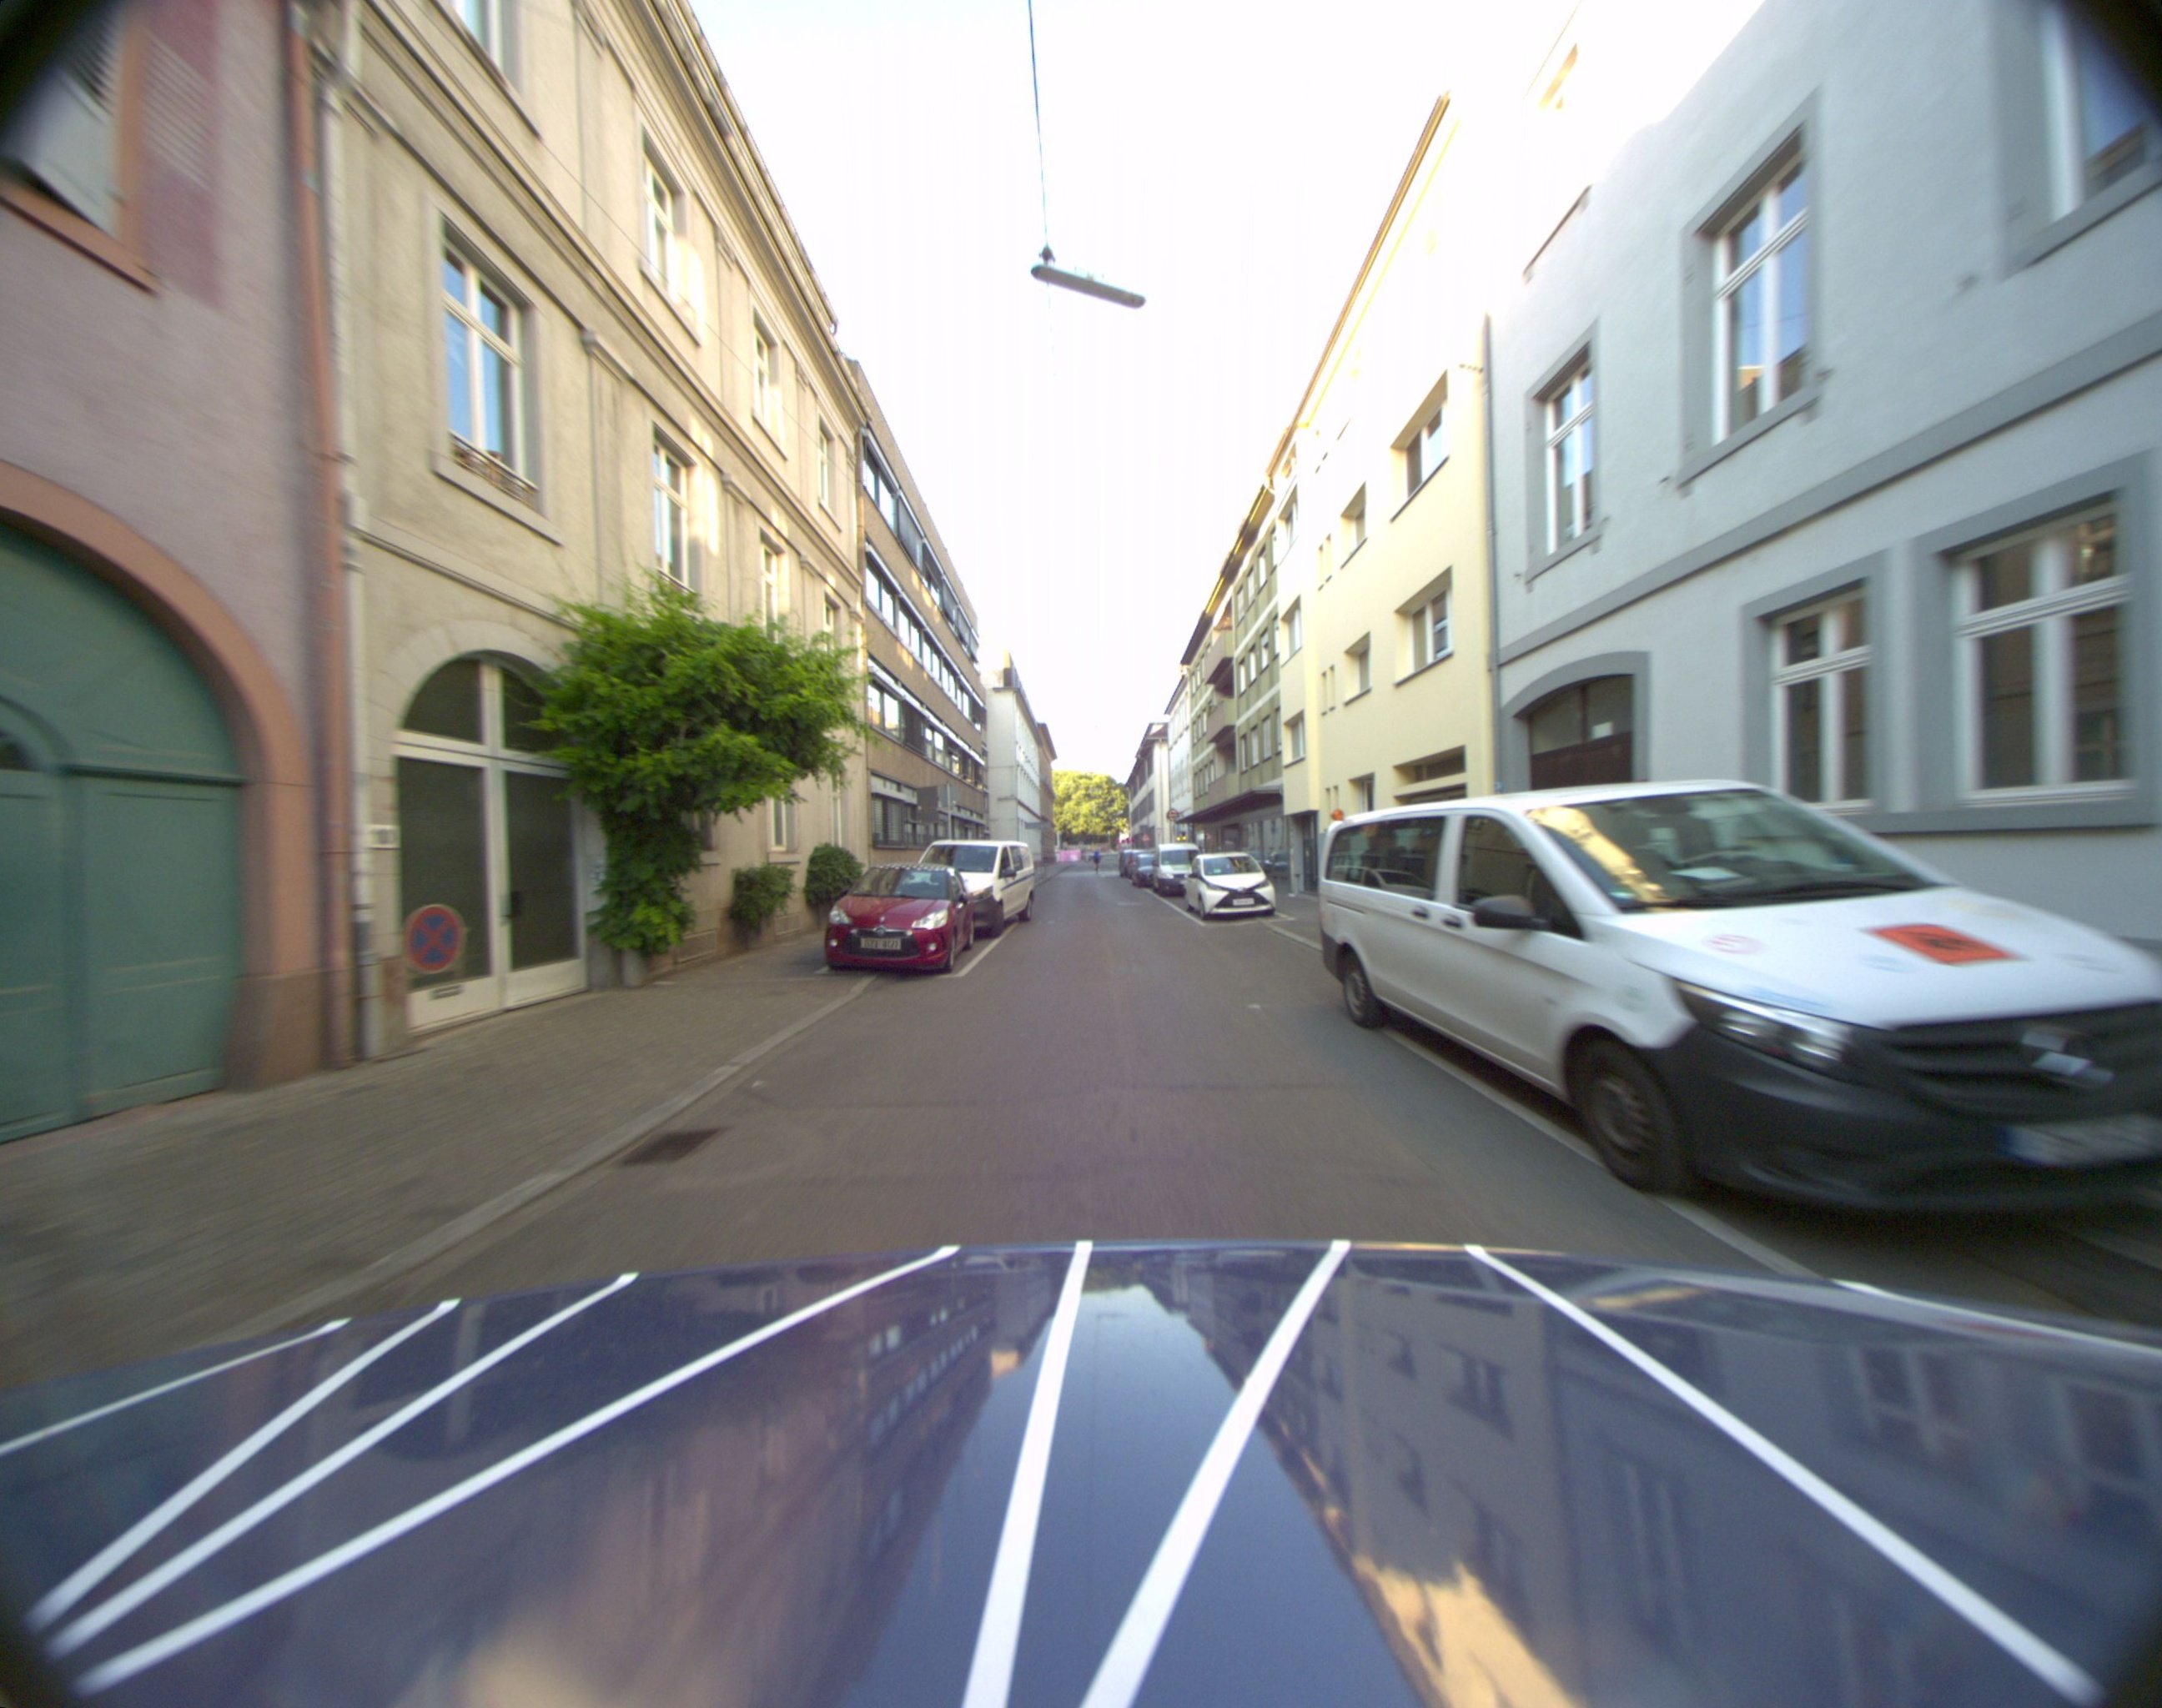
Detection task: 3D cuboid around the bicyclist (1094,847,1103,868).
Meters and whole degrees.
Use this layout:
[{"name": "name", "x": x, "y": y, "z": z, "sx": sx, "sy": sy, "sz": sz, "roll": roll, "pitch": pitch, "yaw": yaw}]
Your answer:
[{"name": "bicyclist", "x": 1.431, "y": 0.295, "z": 61.442, "sx": 0.625, "sy": 1.630, "sz": 1.081, "roll": -2, "pitch": 1, "yaw": 1}]

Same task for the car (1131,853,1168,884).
[{"name": "car", "x": 3.594, "y": 0.737, "z": 40.481, "sx": 1.628, "sy": 1.476, "sz": 3.877, "roll": -1, "pitch": 0, "yaw": 1}]

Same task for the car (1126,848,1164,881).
[{"name": "car", "x": 3.766, "y": 0.562, "z": 45.261, "sx": 1.777, "sy": 1.800, "sz": 4.510, "roll": -2, "pitch": 0, "yaw": 0}]

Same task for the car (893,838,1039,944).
[{"name": "car", "x": -2.246, "y": 0.669, "z": 16.443, "sx": 1.940, "sy": 1.887, "sz": 5.278, "roll": -1, "pitch": 0, "yaw": 4}]

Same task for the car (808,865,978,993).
[{"name": "car", "x": -2.594, "y": 0.963, "z": 11.353, "sx": 1.659, "sy": 1.496, "sz": 3.753, "roll": -1, "pitch": 0, "yaw": -1}]

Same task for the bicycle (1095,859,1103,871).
[{"name": "bicycle", "x": 1.442, "y": 0.872, "z": 61.372, "sx": 0.635, "sy": 0.916, "sz": 1.779, "roll": -2, "pitch": 0, "yaw": 1}]

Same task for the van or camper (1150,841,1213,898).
[{"name": "van or camper", "x": 3.480, "y": 0.517, "z": 27.058, "sx": 1.776, "sy": 1.837, "sz": 4.178, "roll": -1, "pitch": 0, "yaw": 2}]

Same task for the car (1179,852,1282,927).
[{"name": "car", "x": 3.407, "y": 0.753, "z": 17.941, "sx": 1.666, "sy": 1.440, "sz": 3.520, "roll": -5, "pitch": 0, "yaw": 1}]

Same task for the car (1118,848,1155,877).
[{"name": "car", "x": 3.640, "y": 0.536, "z": 50.395, "sx": 1.882, "sy": 1.800, "sz": 4.449, "roll": -2, "pitch": 0, "yaw": -2}]

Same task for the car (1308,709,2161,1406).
[{"name": "car", "x": 3.152, "y": 0.577, "z": 4.761, "sx": 1.867, "sy": 2.002, "sz": 5.105, "roll": -1, "pitch": 0, "yaw": 0}]

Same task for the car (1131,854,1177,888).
[{"name": "car", "x": 3.299, "y": 0.728, "z": 34.778, "sx": 1.628, "sy": 1.407, "sz": 3.980, "roll": -2, "pitch": 0, "yaw": -1}]
